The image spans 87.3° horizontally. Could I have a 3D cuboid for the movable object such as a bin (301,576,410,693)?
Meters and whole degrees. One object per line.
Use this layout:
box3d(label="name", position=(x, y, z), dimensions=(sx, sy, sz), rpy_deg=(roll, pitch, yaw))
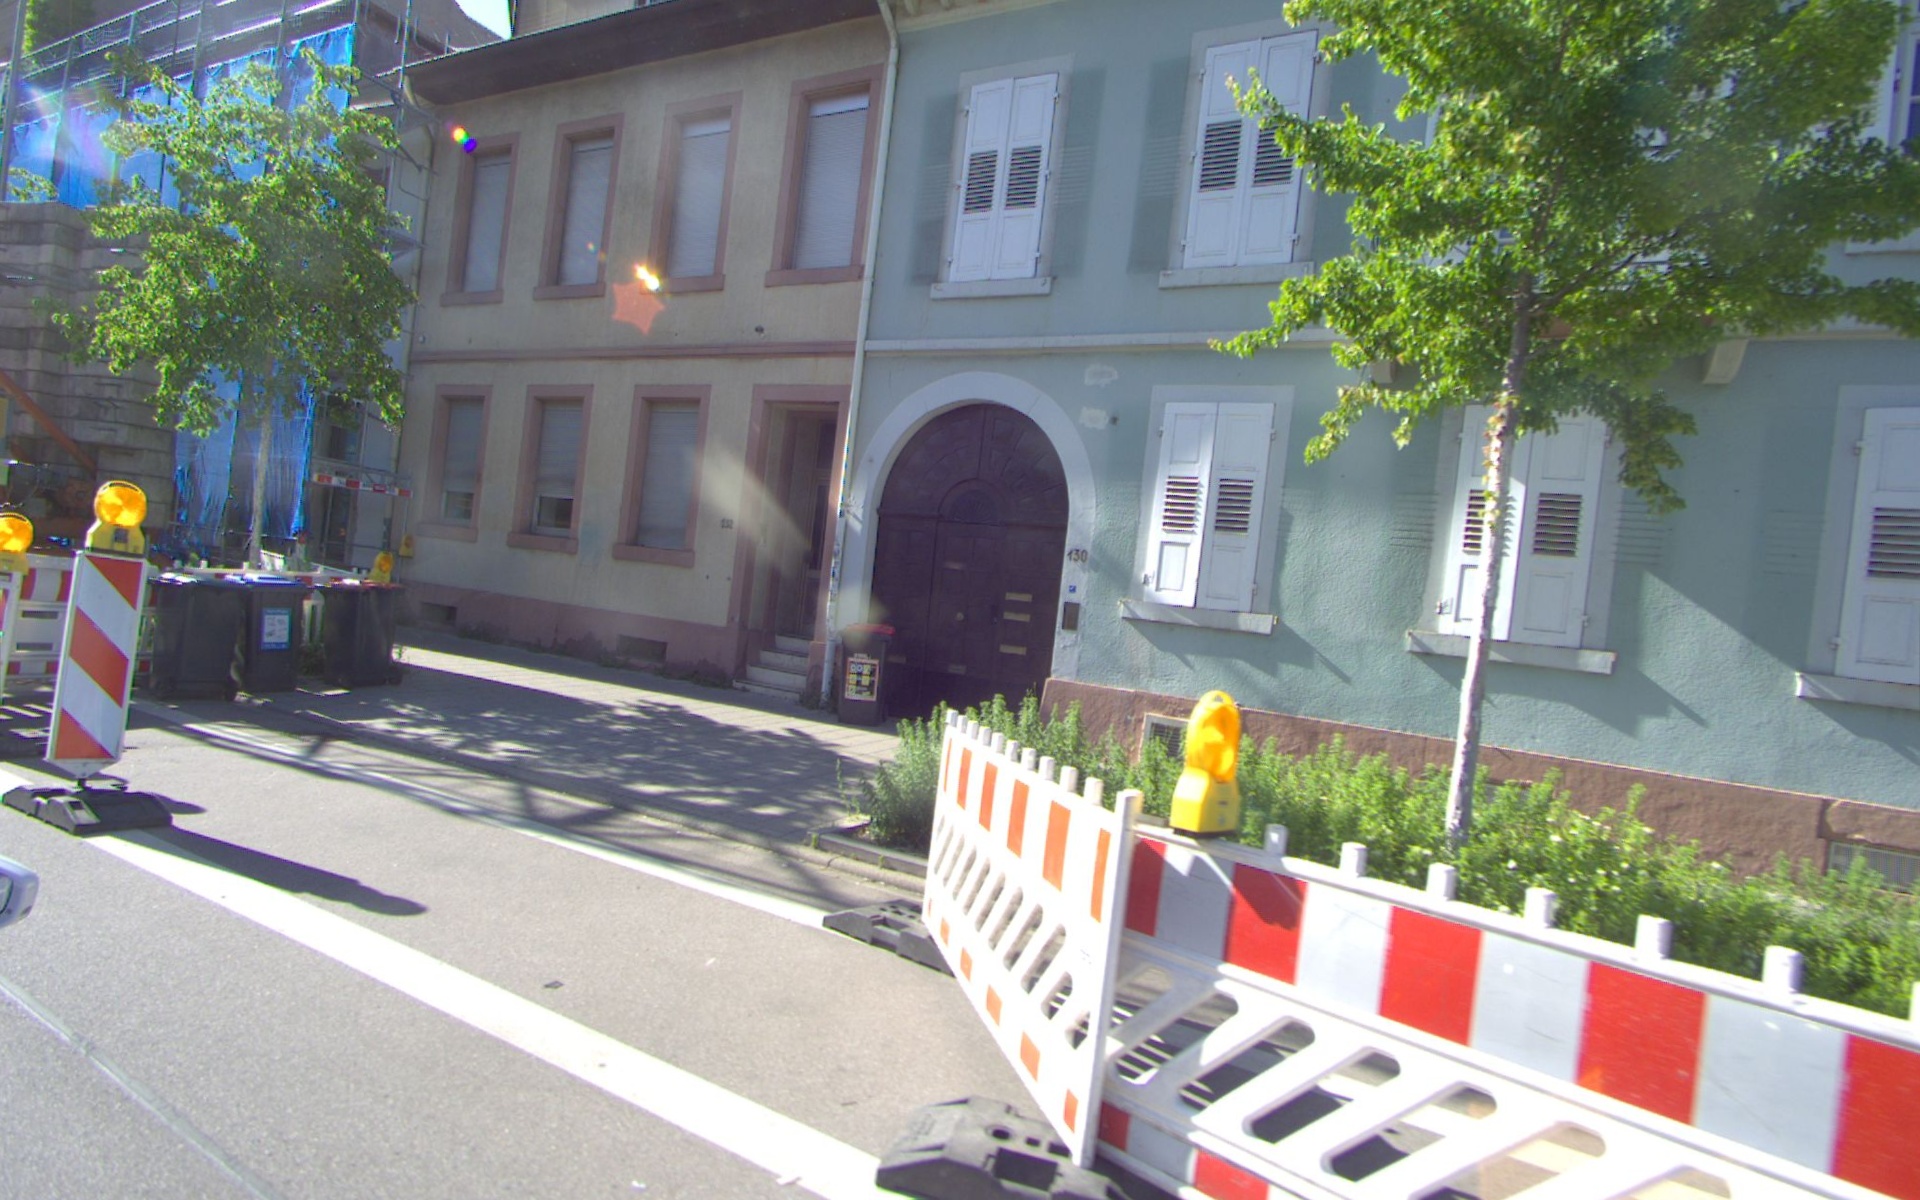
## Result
box3d(label="movable object such as a bin", position=(-6.130, 0.331, 10.213), dimensions=(0.769, 1.073, 0.588), rpy_deg=(7, 5, 24))

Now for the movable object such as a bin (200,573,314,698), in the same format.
box3d(label="movable object such as a bin", position=(-6.628, 0.319, 9.483), dimensions=(0.718, 1.072, 0.595), rpy_deg=(7, 4, 29))

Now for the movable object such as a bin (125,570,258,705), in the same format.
box3d(label="movable object such as a bin", position=(-6.754, 0.336, 8.849), dimensions=(0.718, 1.070, 0.589), rpy_deg=(7, -1, 29))
